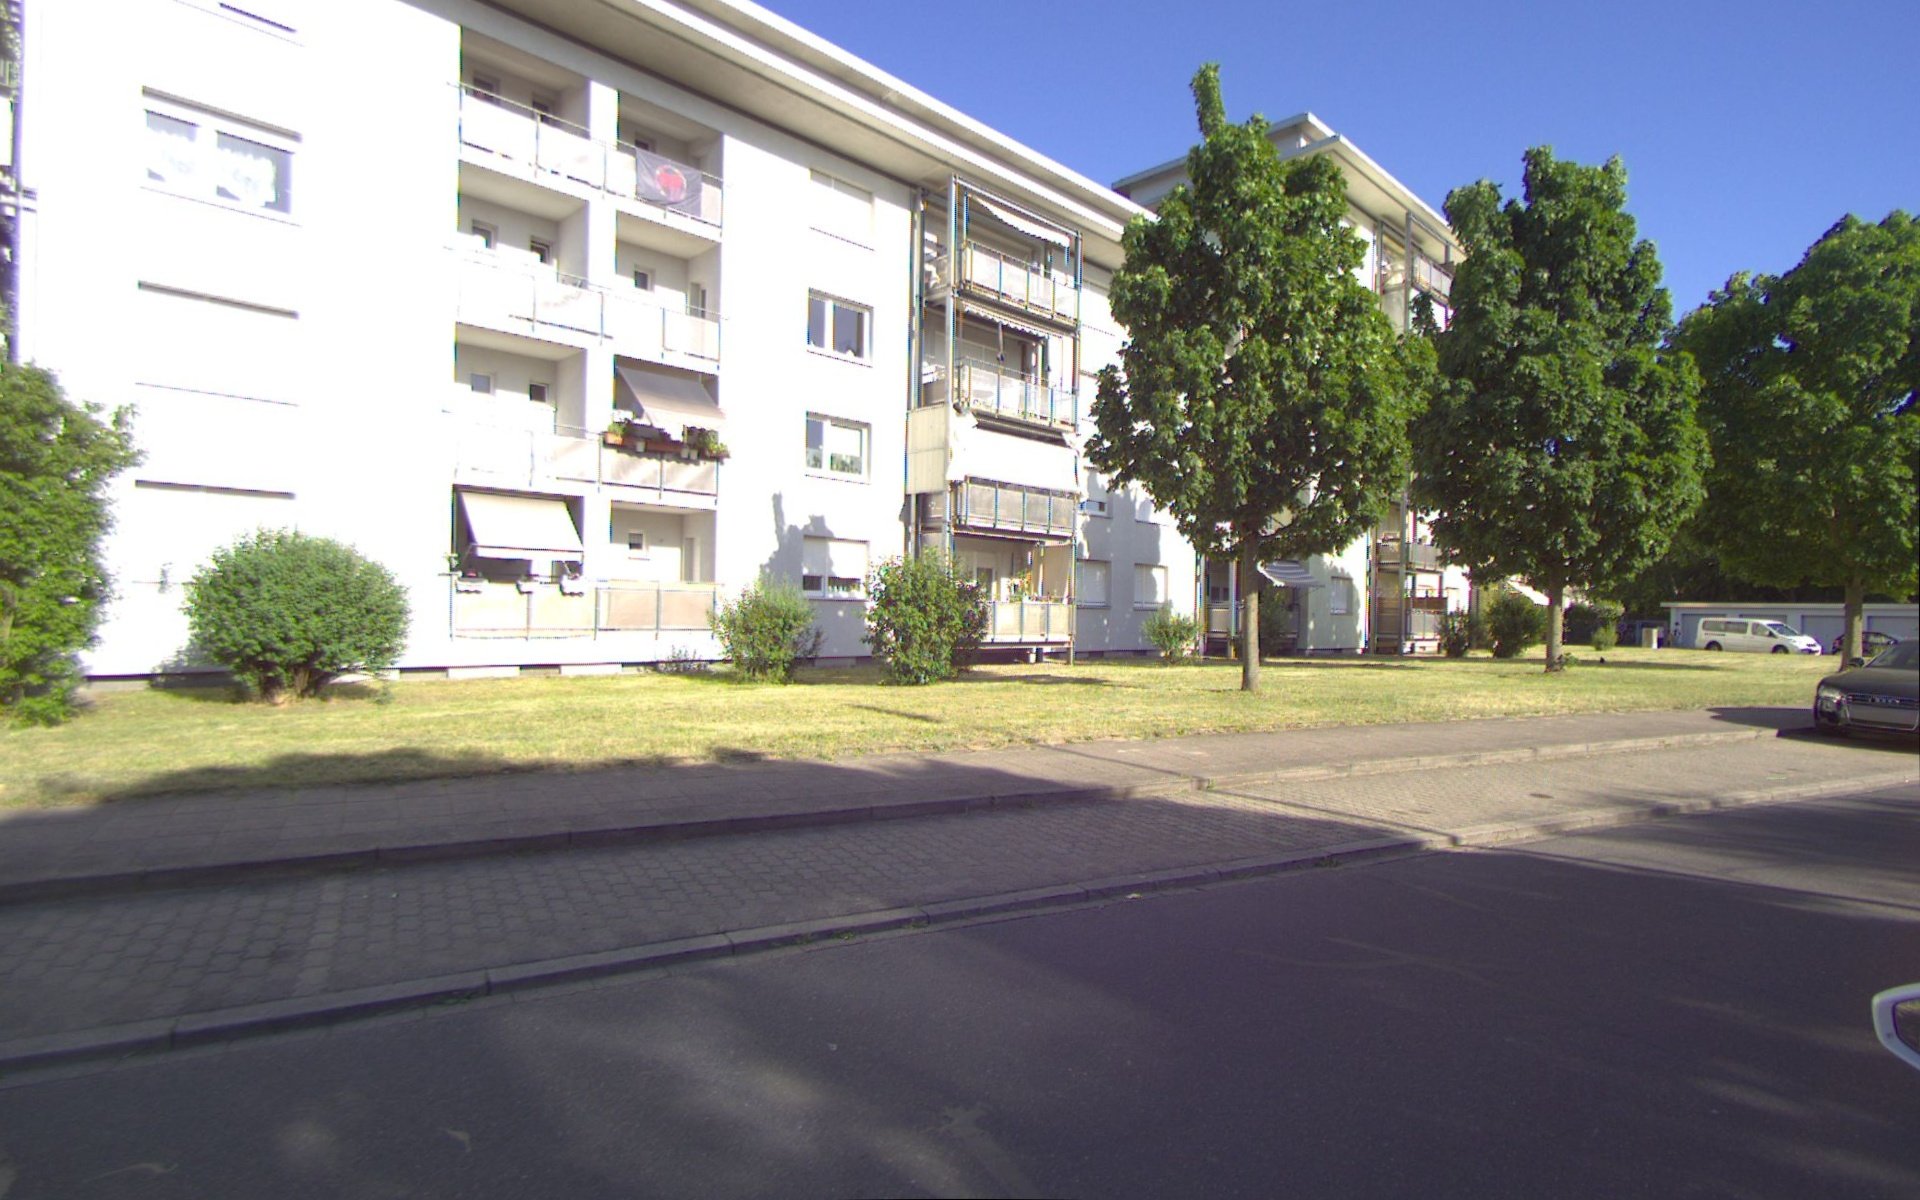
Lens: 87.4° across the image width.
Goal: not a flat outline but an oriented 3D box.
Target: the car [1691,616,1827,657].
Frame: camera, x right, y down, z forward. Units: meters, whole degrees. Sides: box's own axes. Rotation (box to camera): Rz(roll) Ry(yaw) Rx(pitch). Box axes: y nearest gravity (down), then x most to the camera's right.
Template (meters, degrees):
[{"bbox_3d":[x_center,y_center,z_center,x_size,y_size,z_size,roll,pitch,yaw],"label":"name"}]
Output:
[{"bbox_3d":[40.821,1.844,51.475,2.203,1.977,5.099,1,-1,-20],"label":"car"}]

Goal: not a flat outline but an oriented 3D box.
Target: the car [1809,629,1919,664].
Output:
[{"bbox_3d":[42.605,2.128,46.645,2.013,1.480,4.435,1,-1,-21],"label":"car"}]

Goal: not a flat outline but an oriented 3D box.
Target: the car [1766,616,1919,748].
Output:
[{"bbox_3d":[13.680,1.064,13.949,5.192,1.513,2.026,1,2,-29],"label":"car"}]
